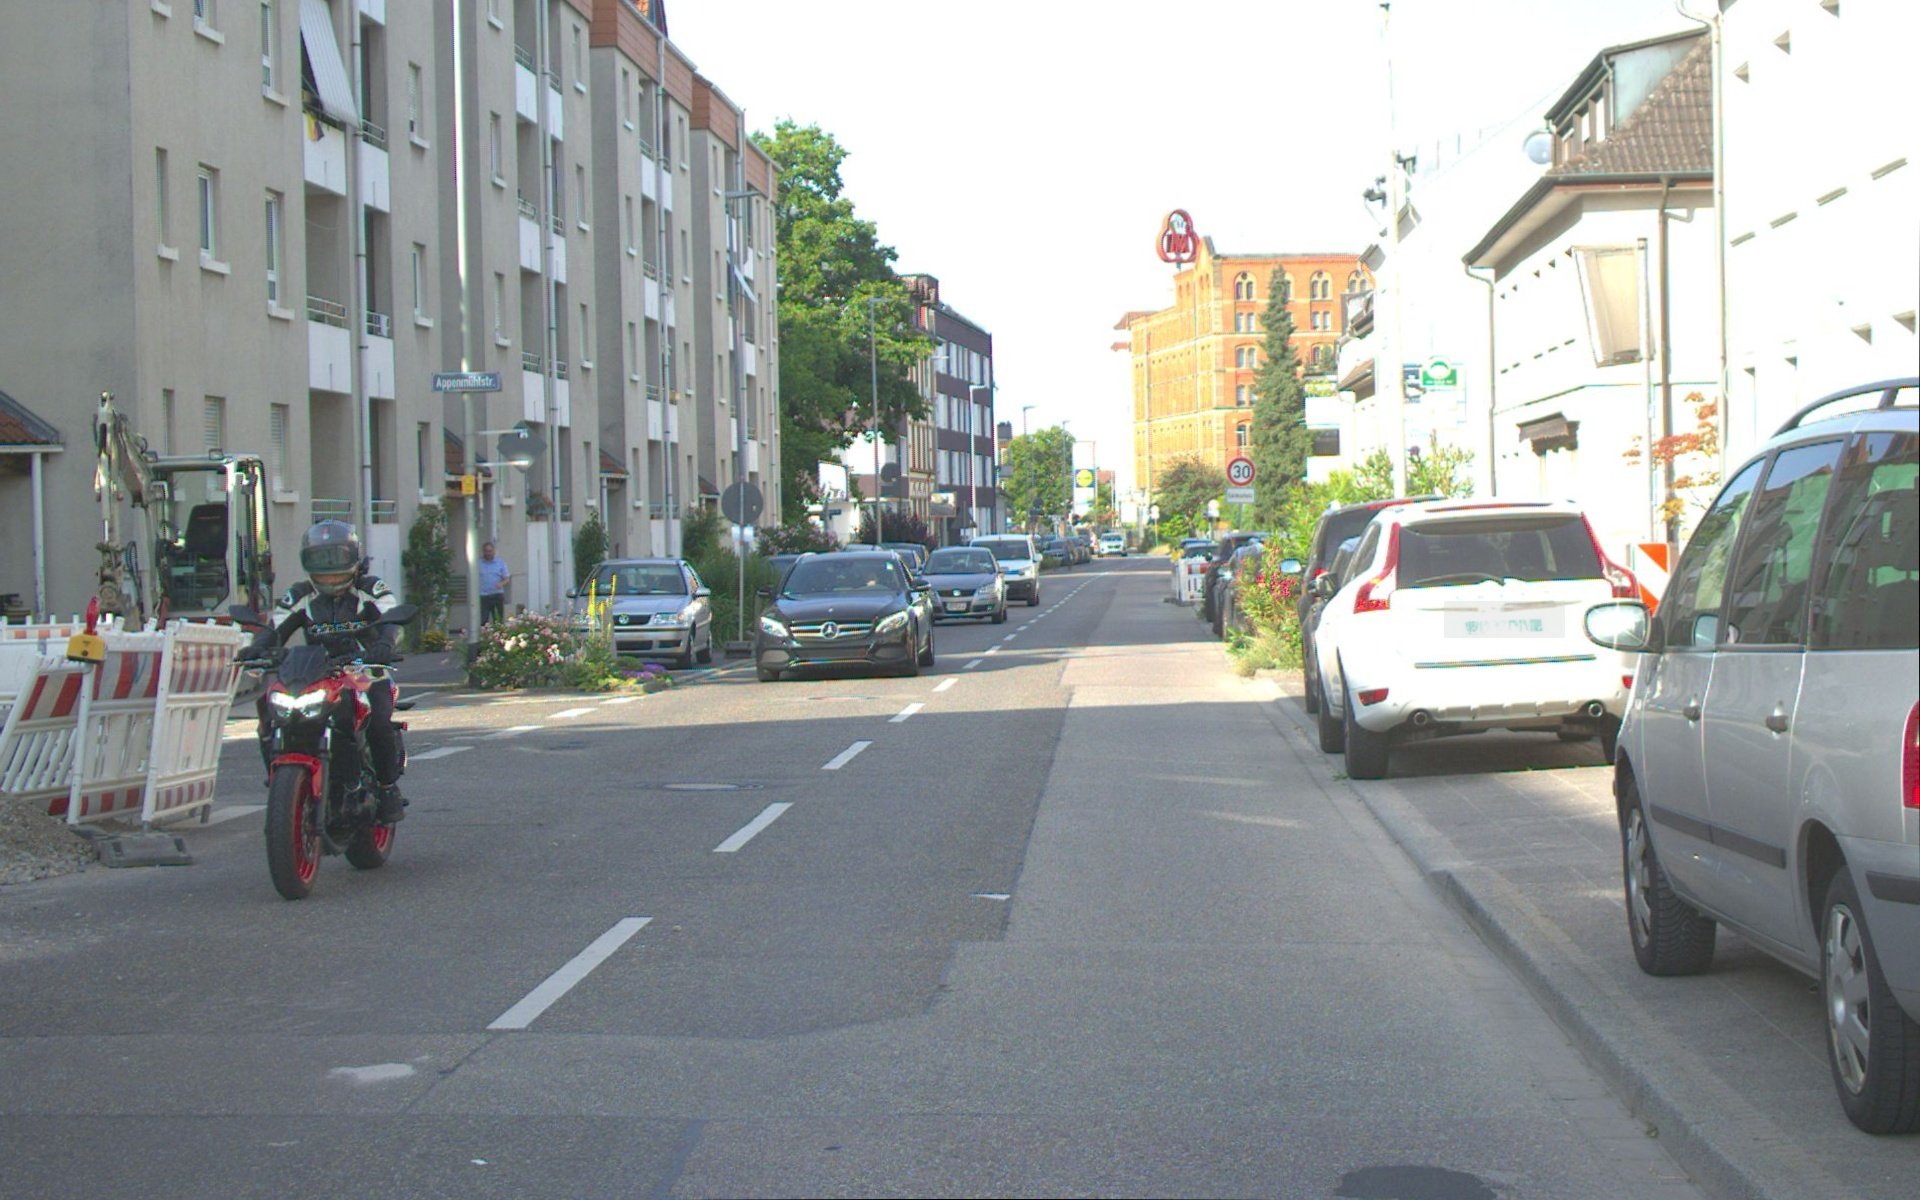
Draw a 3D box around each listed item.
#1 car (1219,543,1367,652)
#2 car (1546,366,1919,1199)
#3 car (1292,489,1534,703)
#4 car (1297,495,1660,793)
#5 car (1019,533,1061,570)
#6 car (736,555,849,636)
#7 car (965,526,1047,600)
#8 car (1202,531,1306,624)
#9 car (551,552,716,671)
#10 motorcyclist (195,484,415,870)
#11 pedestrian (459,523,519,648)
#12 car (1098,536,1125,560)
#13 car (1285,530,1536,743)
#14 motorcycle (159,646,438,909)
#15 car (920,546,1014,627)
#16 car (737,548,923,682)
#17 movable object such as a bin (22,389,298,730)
[{"bbox_3d":[4.627,-0.071,48.218,1.779,1.415,4.496,-1,1,2],"label":"car"},{"bbox_3d":[2.829,0.310,9.037,1.778,1.735,4.484,-2,1,1],"label":"car"},{"bbox_3d":[4.301,-0.097,33.281,2.076,1.849,4.609,-2,1,5],"label":"car"},{"bbox_3d":[3.222,0.203,22.154,1.812,1.678,4.476,-2,1,3],"label":"car"},{"bbox_3d":[4.203,-2.545,179.445,1.994,1.875,4.000,-1,1,4],"label":"car"},{"bbox_3d":[-3.000,-0.101,62.291,1.686,1.401,4.084,0,1,2],"label":"car"},{"bbox_3d":[1.182,-0.945,85.781,1.922,1.761,4.338,-1,1,2],"label":"car"},{"bbox_3d":[5.486,-0.395,64.411,1.830,1.624,4.462,2,-1,4],"label":"car"},{"bbox_3d":[-4.135,0.115,44.028,1.640,1.390,3.671,-2,1,1],"label":"car"},{"bbox_3d":[-2.904,0.325,15.316,0.769,1.646,0.844,-2,1,0],"label":"motorcyclist"},{"bbox_3d":[-6.882,-0.224,50.285,0.719,1.812,0.745,0,1,4],"label":"pedestrian"},{"bbox_3d":[10.369,-3.559,235.661,1.764,1.611,4.000,-2,1,3],"label":"car"},{"bbox_3d":[3.577,0.247,27.955,1.589,1.523,4.613,-2,1,3],"label":"car"},{"bbox_3d":[-2.896,0.748,15.281,0.768,0.981,2.199,-2,1,0],"label":"motorcycle"},{"bbox_3d":[0.159,-0.278,65.441,1.617,1.450,3.685,-2,1,2],"label":"car"},{"bbox_3d":[-1.455,0.132,39.967,1.830,1.415,4.209,-1,1,2],"label":"car"},{"bbox_3d":[-7.803,-0.423,33.867,1.648,3.127,3.900,-1,1,2],"label":"movable object such as a bin"}]
